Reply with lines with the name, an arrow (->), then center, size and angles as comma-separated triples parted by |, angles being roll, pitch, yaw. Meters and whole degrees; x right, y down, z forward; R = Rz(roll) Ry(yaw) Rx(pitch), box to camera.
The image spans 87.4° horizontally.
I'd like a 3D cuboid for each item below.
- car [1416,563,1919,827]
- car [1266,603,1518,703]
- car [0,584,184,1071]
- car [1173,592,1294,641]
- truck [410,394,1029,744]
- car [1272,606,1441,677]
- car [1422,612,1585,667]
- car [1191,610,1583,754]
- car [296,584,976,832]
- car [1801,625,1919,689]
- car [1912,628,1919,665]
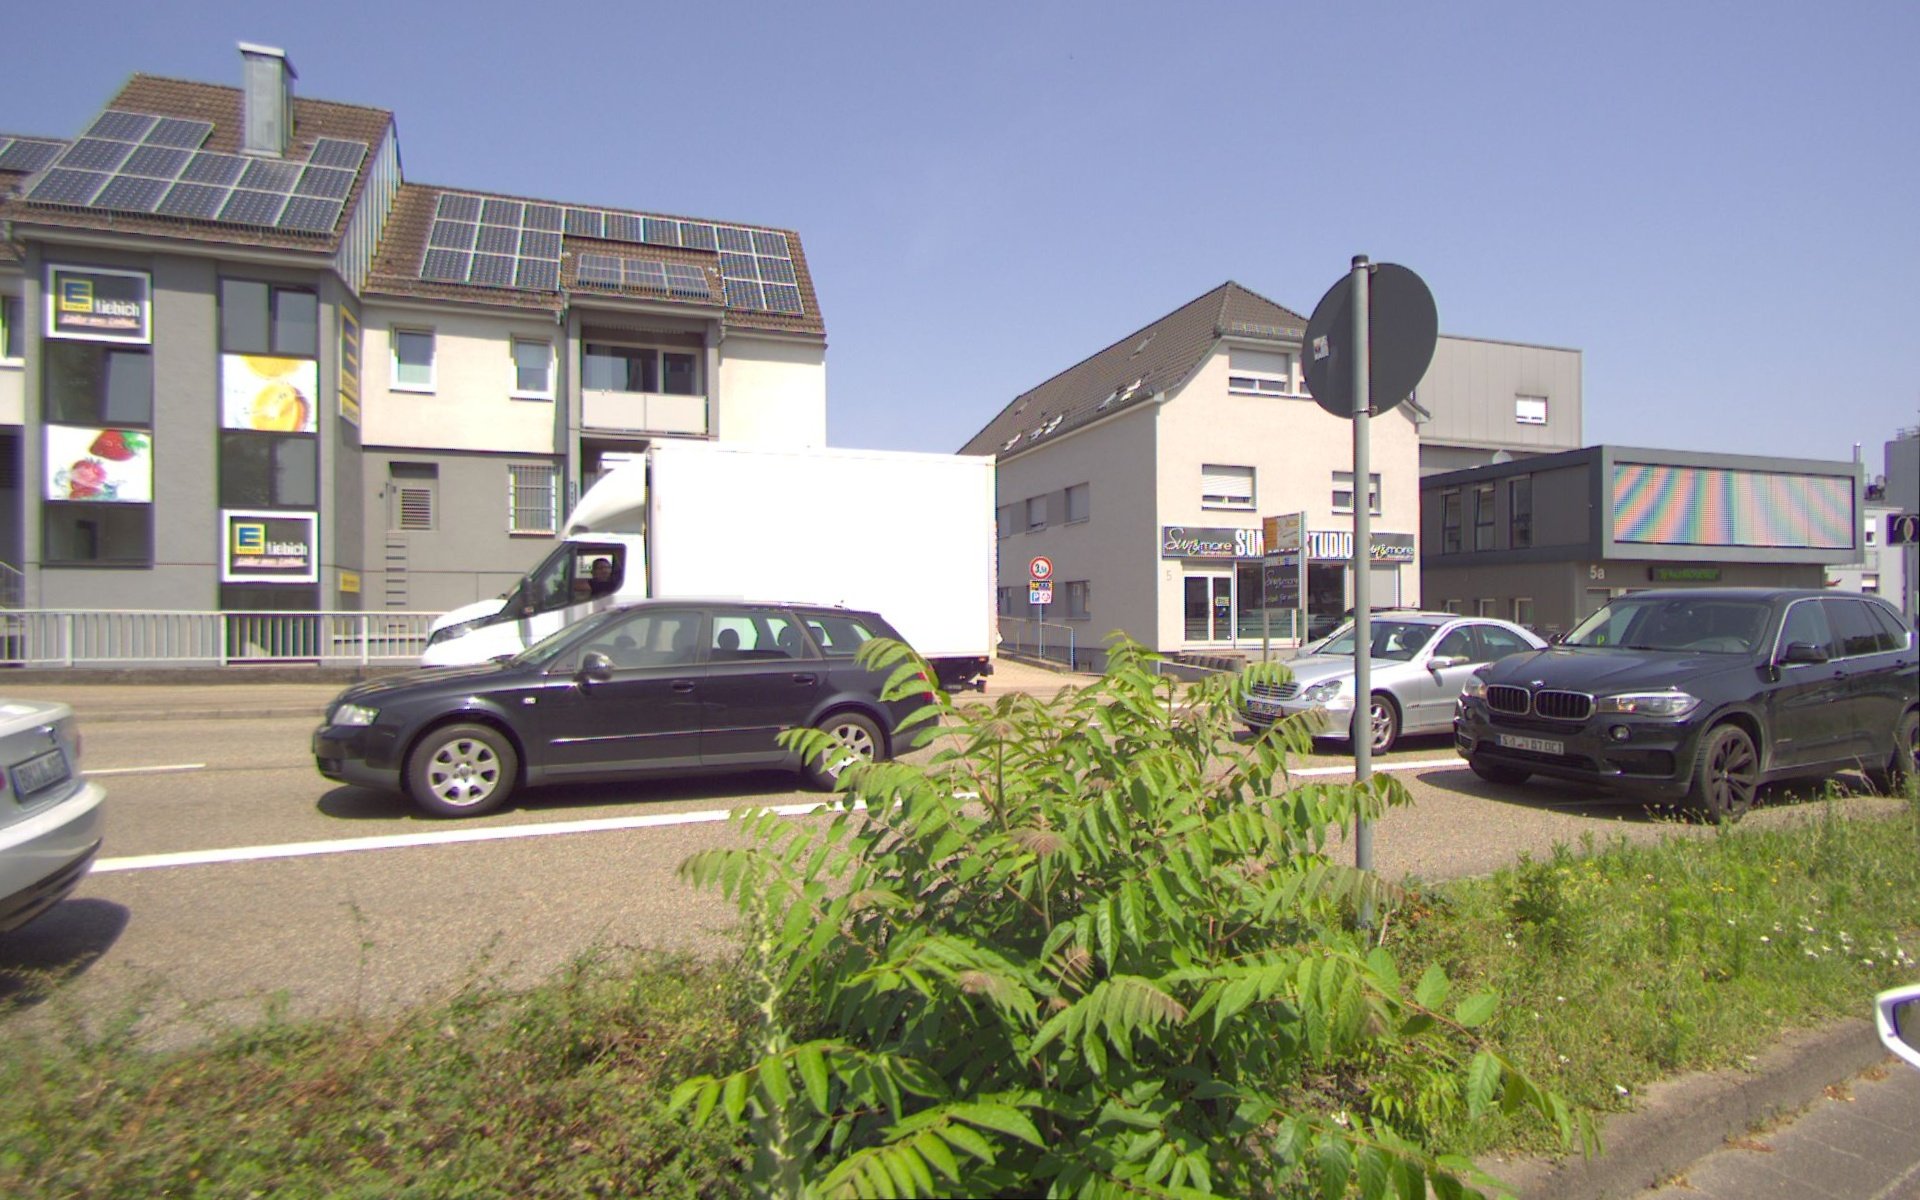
car -> 6.389, 0.714, 8.640 | 4.696, 1.774, 1.903 | 2, 0, -26
car -> 7.658, 0.899, 17.772 | 4.143, 1.587, 1.891 | 2, -1, -27
car -> -5.210, 0.622, 2.694 | 4.688, 1.450, 1.854 | 1, 0, -30
car -> 10.194, 0.575, 37.833 | 1.730, 1.517, 4.587 | 1, 3, -27
truck -> -2.731, -0.273, 12.430 | 6.941, 3.463, 2.259 | 0, 0, -24
car -> 11.059, 1.099, 28.407 | 1.826, 1.649, 4.598 | 1, 2, -20
car -> 16.407, 1.185, 30.526 | 1.971, 1.541, 4.048 | 1, -2, -23
car -> 4.892, 0.858, 11.467 | 4.143, 1.379, 1.891 | 2, -1, -27
car -> -2.287, 0.684, 7.759 | 4.518, 1.459, 1.795 | 1, 0, -27
car -> 21.906, 1.299, 23.344 | 4.291, 1.372, 1.802 | 1, -1, -21
car -> 39.703, 1.843, 38.799 | 1.554, 1.478, 3.976 | 2, -2, -24
